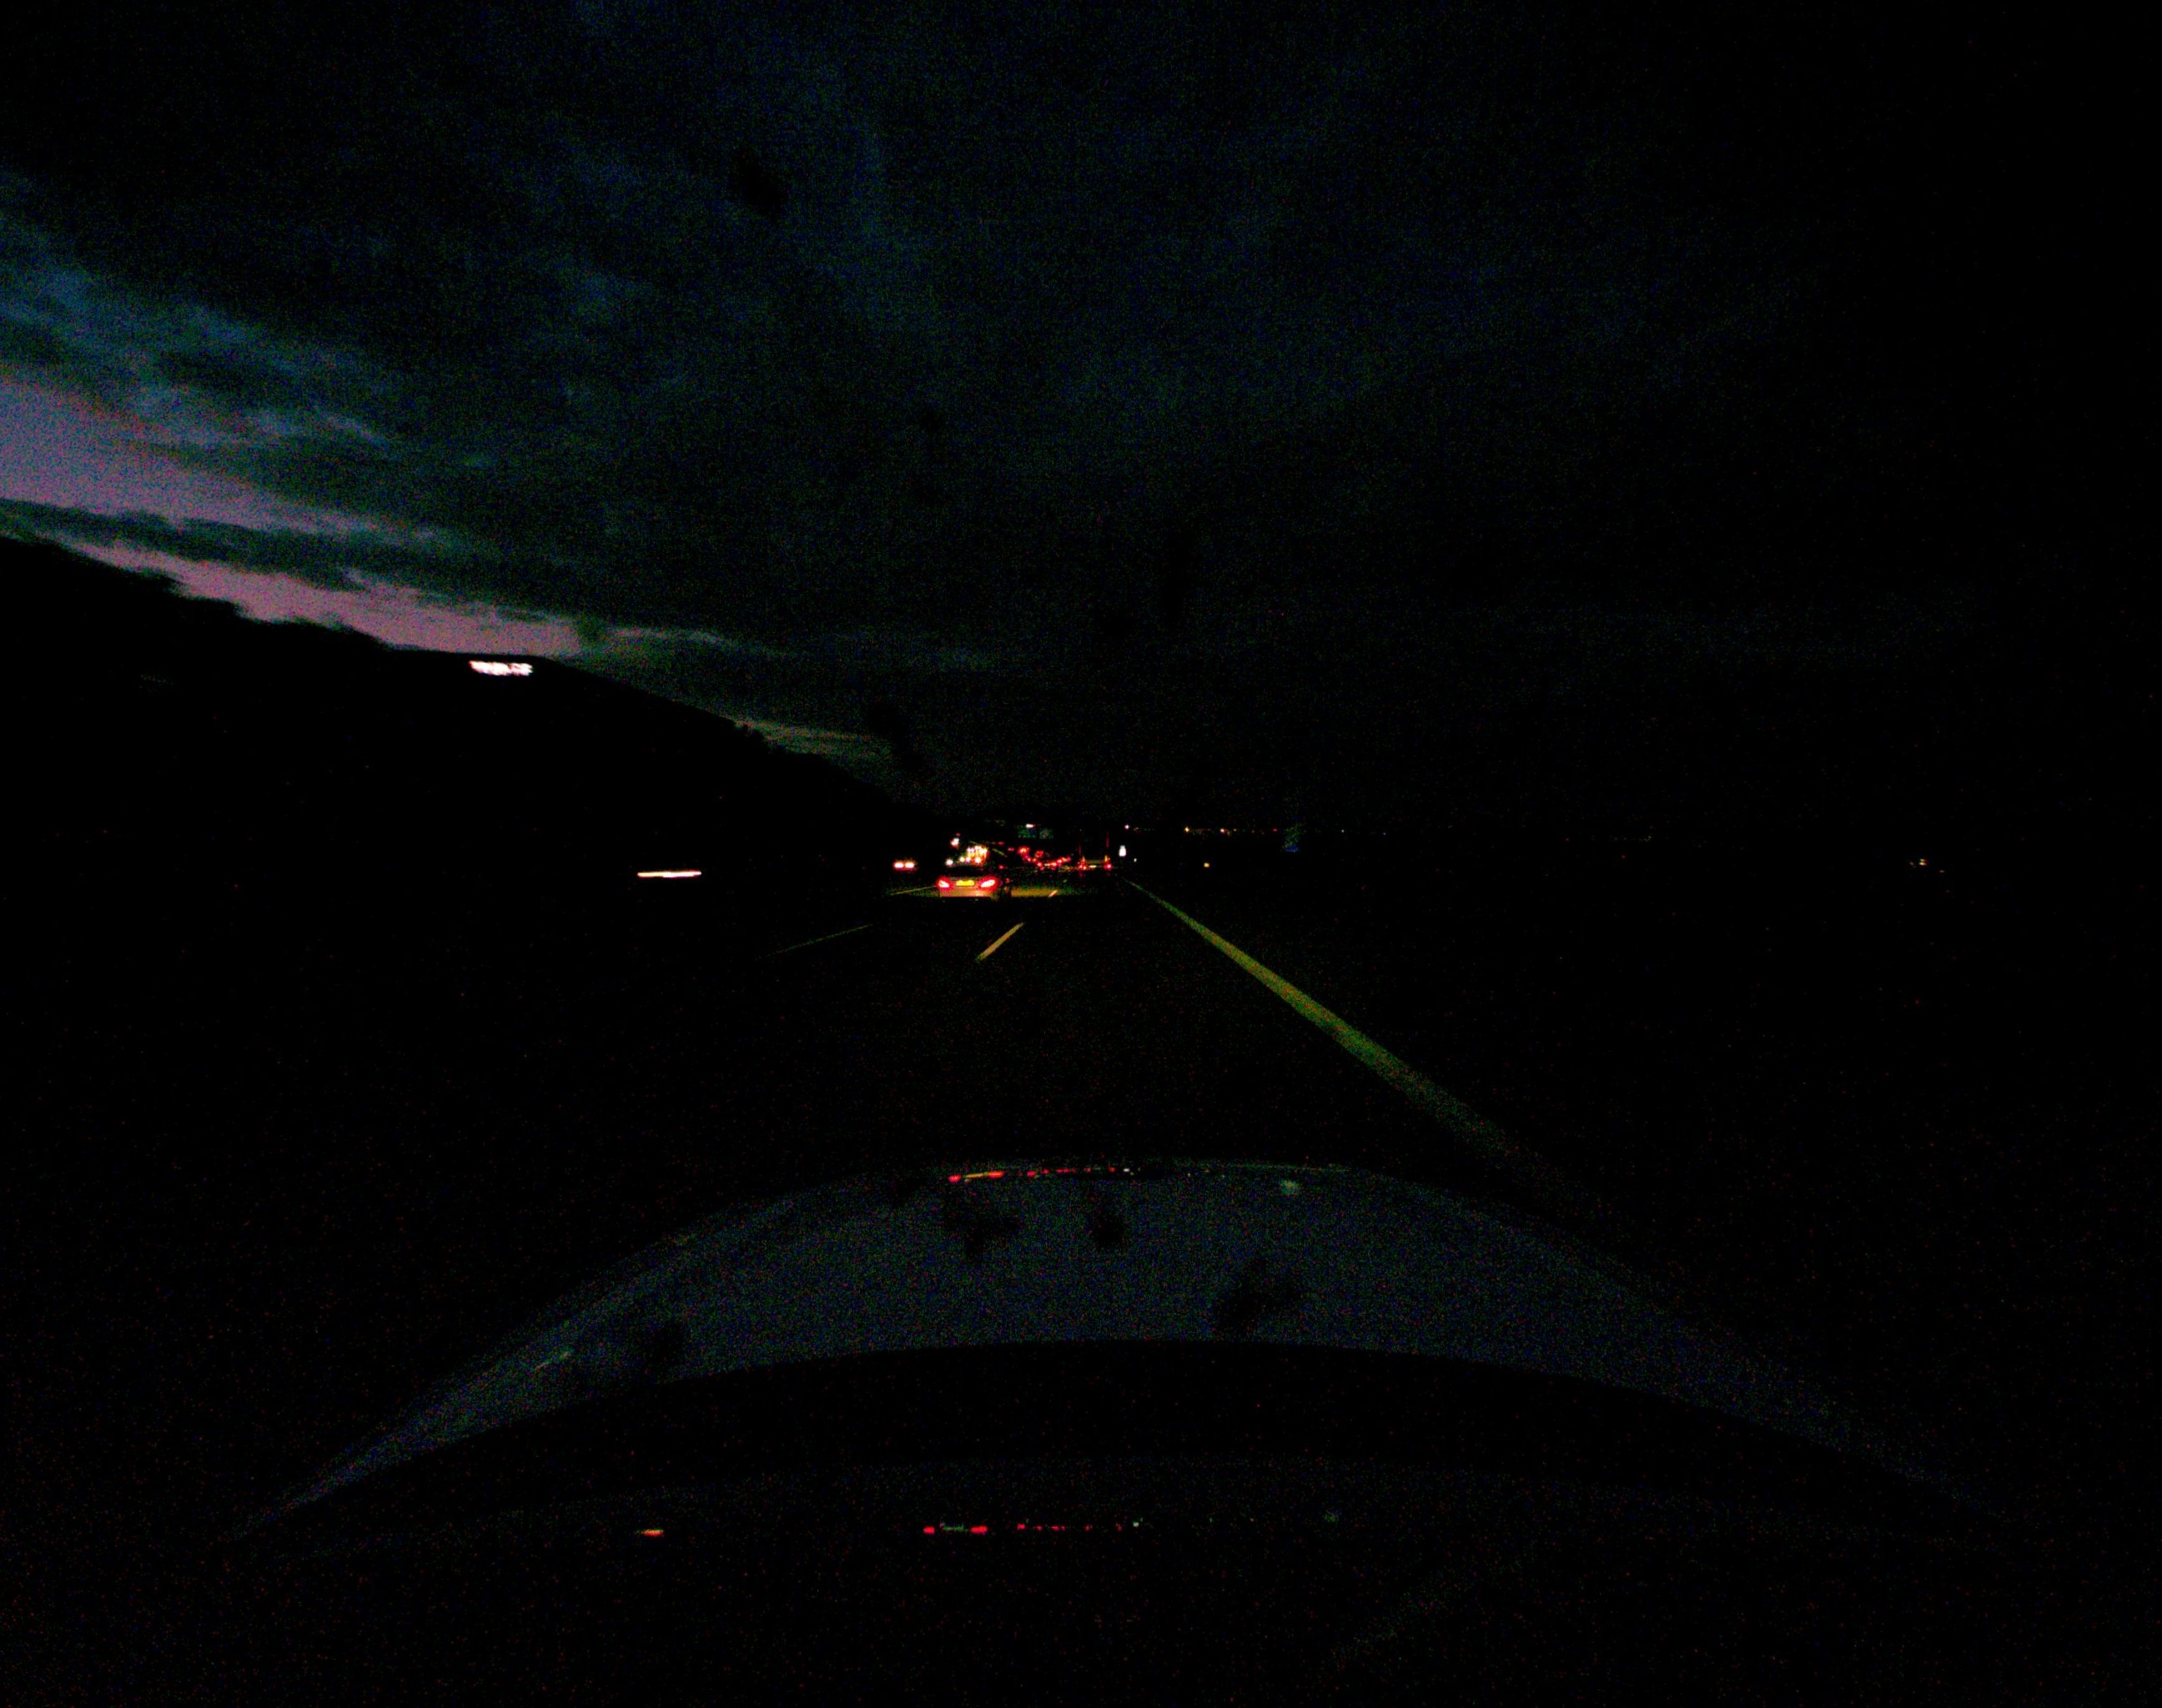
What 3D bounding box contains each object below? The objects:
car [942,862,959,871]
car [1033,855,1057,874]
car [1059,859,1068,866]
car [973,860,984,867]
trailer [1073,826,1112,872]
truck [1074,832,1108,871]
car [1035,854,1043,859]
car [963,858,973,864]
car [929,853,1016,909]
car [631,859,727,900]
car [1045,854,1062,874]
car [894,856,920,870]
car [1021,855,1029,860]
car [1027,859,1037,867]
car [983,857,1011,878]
[{"bbox_3d":[-20.615,1.913,128.754,1.829,1.336,4.908,0,0,0],"label":"car"},{"bbox_3d":[-3.325,0.931,75.575,2.059,1.686,4.575,0,-1,-1],"label":"car"},{"bbox_3d":[-3.832,1.763,176.409,1.989,1.534,3.996,0,-1,-2],"label":"car"},{"bbox_3d":[-22.493,1.996,178.905,1.987,1.505,4.504,0,-1,-1],"label":"car"},{"bbox_3d":[1.040,-0.338,81.580,3.539,4.116,15.059,0,-1,0],"label":"trailer"},{"bbox_3d":[1.059,-0.238,89.036,3.539,4.091,6.150,0,-1,0],"label":"truck"},{"bbox_3d":[-12.707,0.786,245.494,1.993,1.622,3.988,0,-1,-9],"label":"car"},{"bbox_3d":[-27.657,1.651,199.799,1.988,1.534,5.003,0,-1,-1],"label":"car"},{"bbox_3d":[-3.291,0.785,25.720,1.899,1.614,4.806,0,-1,2],"label":"car"},{"bbox_3d":[-18.516,1.137,37.814,1.987,1.791,4.841,0,-1,1],"label":"car"},{"bbox_3d":[-3.257,1.154,96.160,1.988,2.380,3.997,0,-1,-2],"label":"car"},{"bbox_3d":[-18.814,1.007,88.152,1.987,1.453,3.834,0,-1,0],"label":"car"},{"bbox_3d":[-15.450,1.035,225.711,1.991,1.468,3.990,0,-1,-7],"label":"car"},{"bbox_3d":[-10.484,1.858,174.808,1.991,1.622,3.992,0,-1,-6],"label":"car"},{"bbox_3d":[-6.527,1.028,63.783,1.756,1.575,4.576,0,-1,0],"label":"car"}]
